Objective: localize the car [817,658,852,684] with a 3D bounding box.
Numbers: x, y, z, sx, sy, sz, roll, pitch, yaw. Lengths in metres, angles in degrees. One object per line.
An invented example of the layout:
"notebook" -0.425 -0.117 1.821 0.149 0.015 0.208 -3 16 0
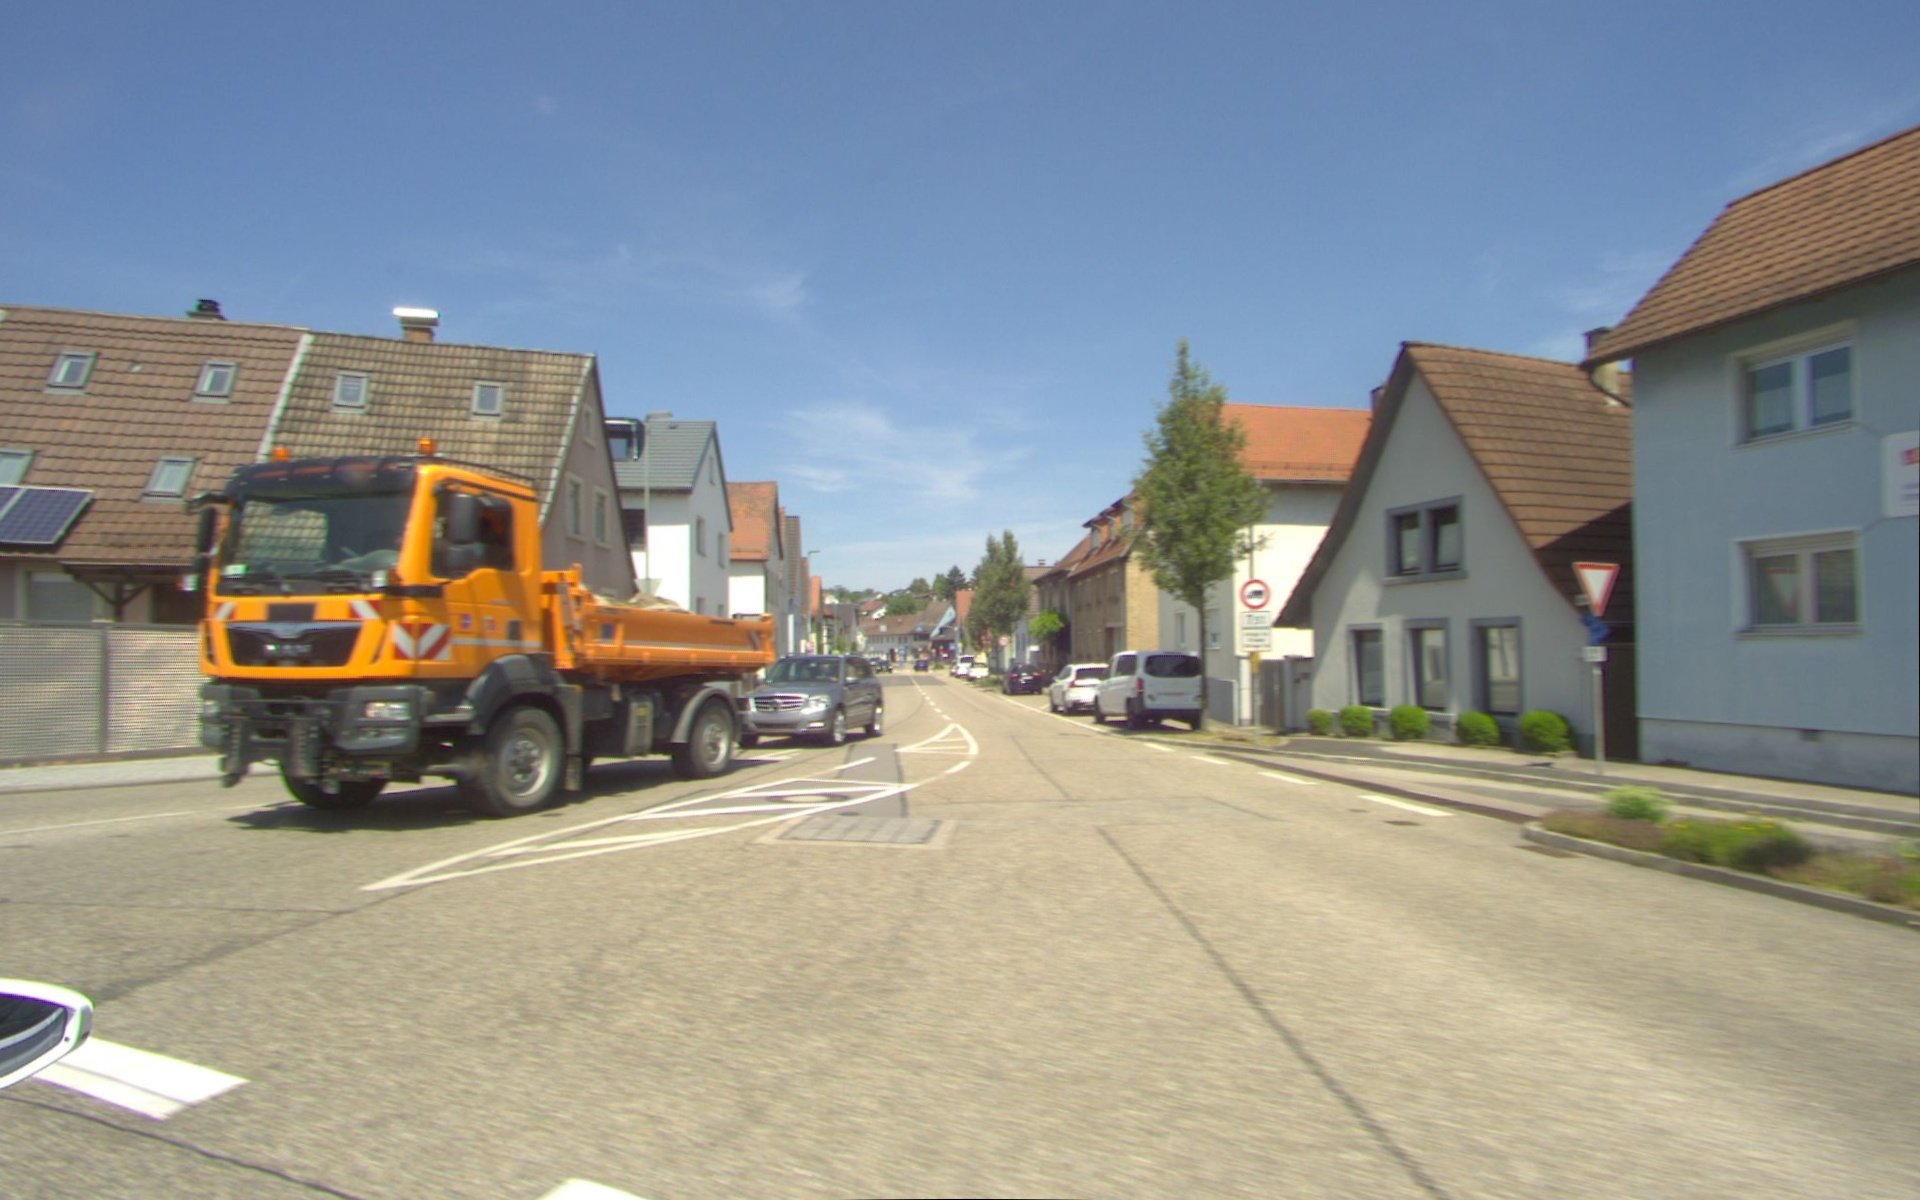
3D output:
"car" -8.153 4.618 65.270 1.689 1.615 4.004 1 -3 1

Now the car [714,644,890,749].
"car" -2.749 1.734 18.535 1.962 1.695 4.317 0 -4 9

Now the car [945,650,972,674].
"car" -0.117 5.587 90.435 1.961 2.016 4.002 -2 -3 -6

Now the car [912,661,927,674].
"car" -5.199 8.580 128.322 1.690 1.615 4.003 1 -3 -5

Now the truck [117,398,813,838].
"truck" -4.425 0.433 11.272 2.621 3.218 7.462 -1 -5 16

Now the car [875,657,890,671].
"car" -9.460 7.732 121.734 1.690 1.615 4.002 1 -3 -5

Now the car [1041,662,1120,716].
"car" 3.936 2.912 33.409 1.788 1.654 4.210 0 -3 -5

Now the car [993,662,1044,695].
"car" 2.960 3.997 51.577 1.962 1.604 4.002 1 -3 -6

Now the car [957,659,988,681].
"car" 0.916 5.482 78.685 1.962 1.604 4.002 1 -3 -6

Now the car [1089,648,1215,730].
"car" 4.857 2.309 26.009 1.962 1.934 4.329 1 -5 -7
